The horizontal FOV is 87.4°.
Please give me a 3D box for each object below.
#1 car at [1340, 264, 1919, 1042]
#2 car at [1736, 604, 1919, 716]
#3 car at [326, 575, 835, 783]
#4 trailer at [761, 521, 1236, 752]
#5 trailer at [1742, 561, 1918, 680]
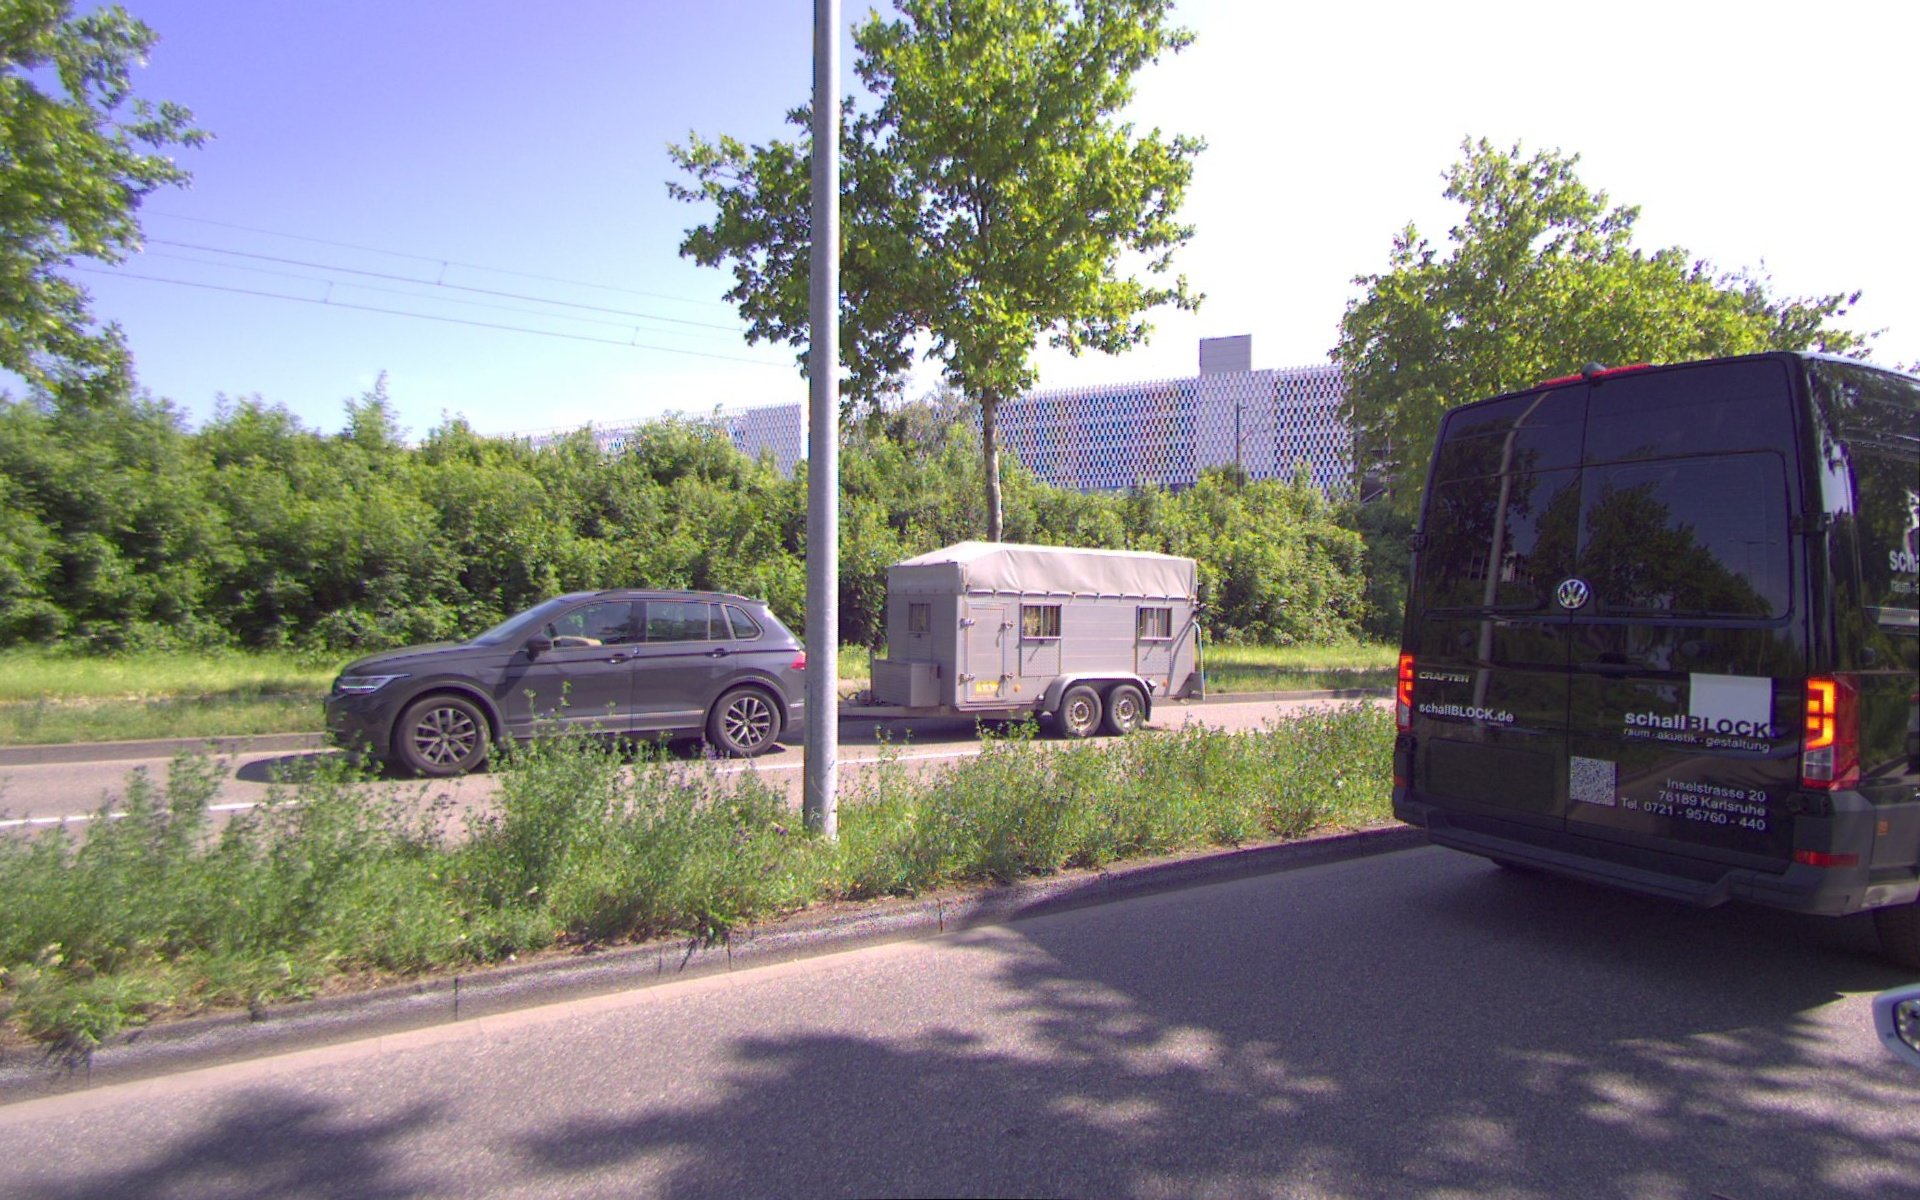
[{"bbox_3d":[5.096,0.237,5.842,6.097,2.642,2.006,1,0,-31],"label":"car"},{"bbox_3d":[16.449,1.056,18.692,4.182,1.833,1.722,1,1,-30],"label":"car"},{"bbox_3d":[-3.551,0.671,9.772,4.310,1.643,1.707,1,-1,-30],"label":"car"},{"bbox_3d":[0.570,0.424,12.362,5.473,2.295,2.298,1,-1,-30],"label":"trailer"},{"bbox_3d":[22.059,0.503,25.420,4.772,2.780,1.871,1,1,-30],"label":"trailer"}]
